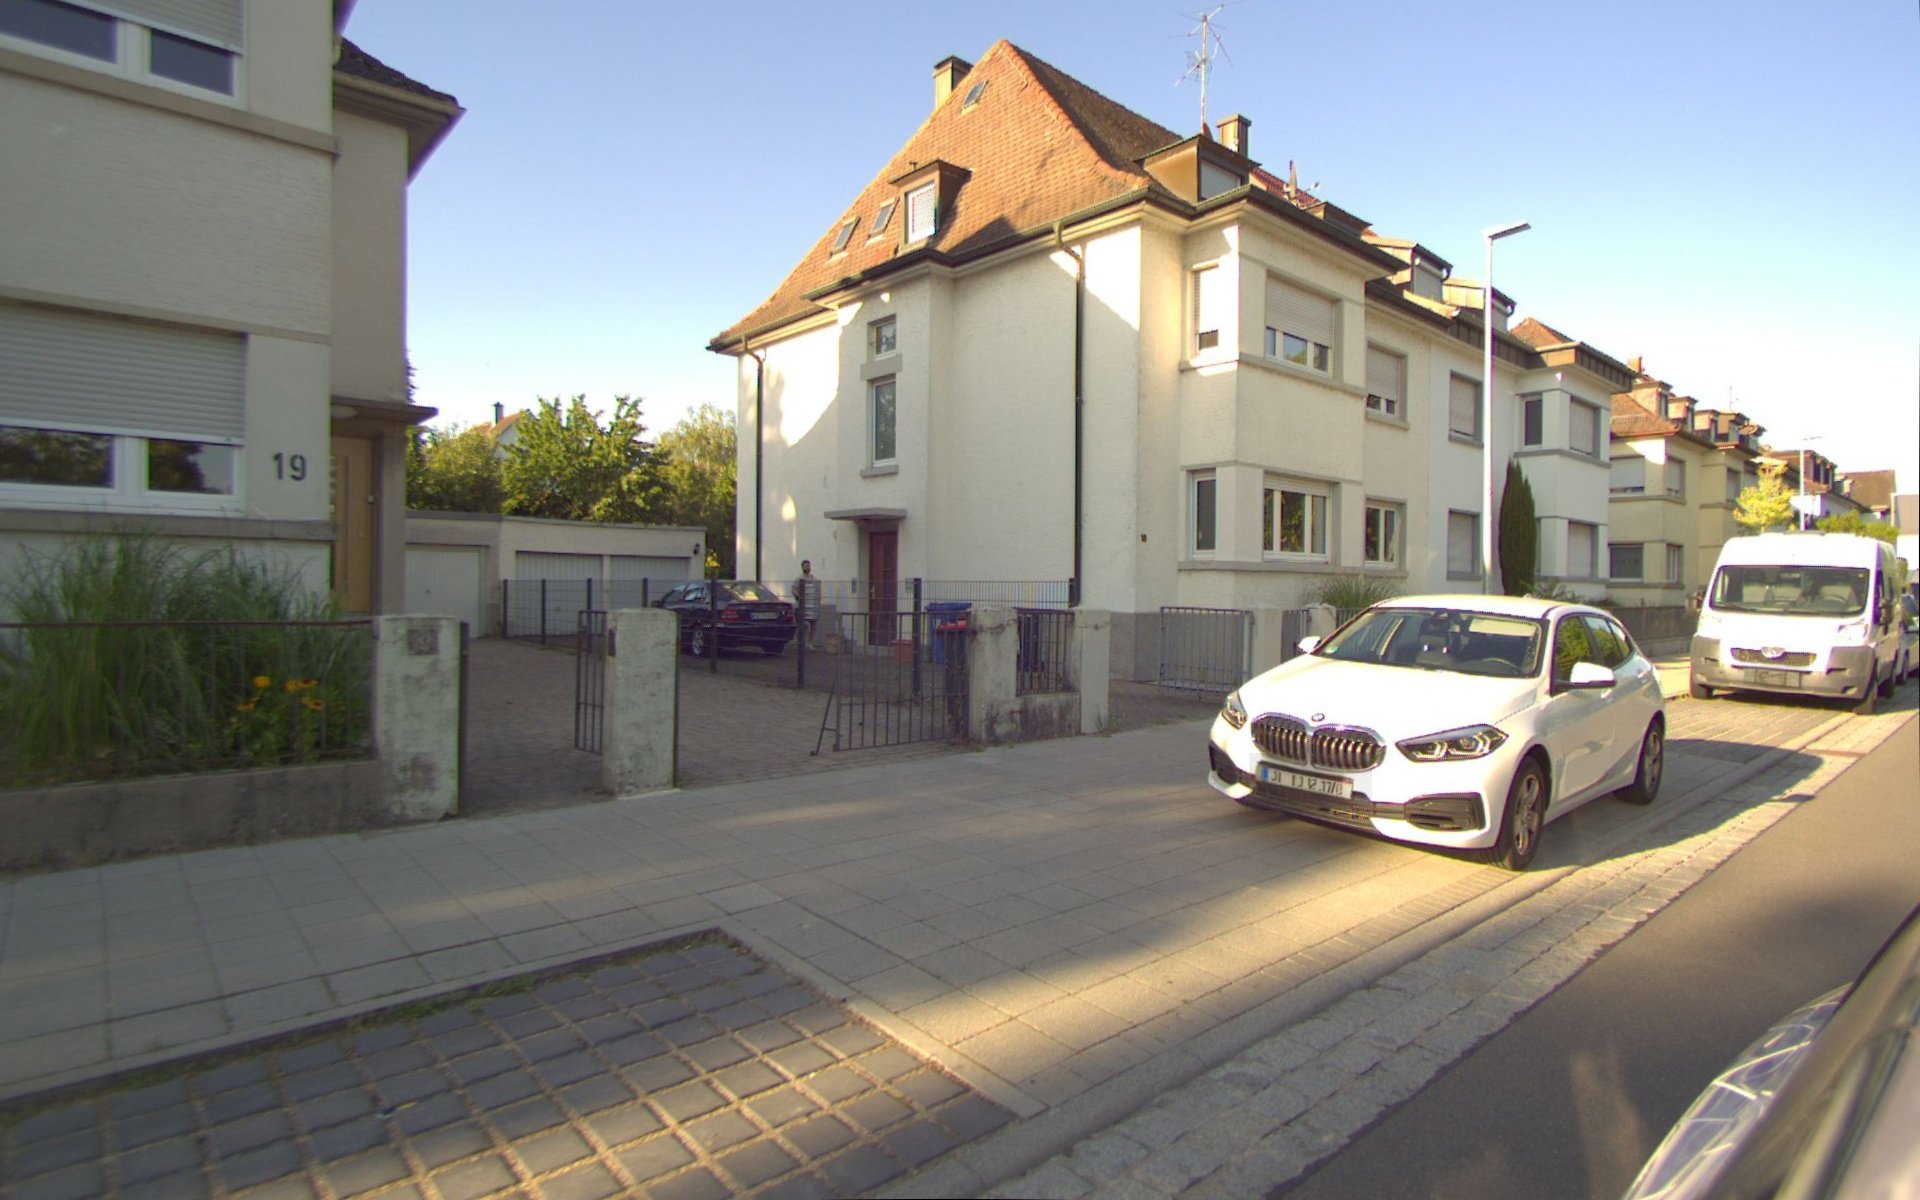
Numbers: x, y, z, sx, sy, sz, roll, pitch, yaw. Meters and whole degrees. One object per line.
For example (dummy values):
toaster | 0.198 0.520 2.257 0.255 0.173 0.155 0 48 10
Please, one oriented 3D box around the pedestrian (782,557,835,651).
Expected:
pedestrian | -2.966 0.061 19.794 0.702 1.782 0.696 0 2 -42

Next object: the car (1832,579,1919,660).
car | 21.367 0.412 23.014 4.403 1.665 1.780 0 2 -42

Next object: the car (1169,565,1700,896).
car | 3.421 0.616 6.886 4.161 1.526 1.786 1 2 -43

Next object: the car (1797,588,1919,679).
car | 17.341 0.575 19.153 4.035 1.501 1.625 1 1 -41

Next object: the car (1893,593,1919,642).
car | 30.401 0.531 31.462 3.934 1.457 1.628 0 1 -41

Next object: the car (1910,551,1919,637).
car | 35.067 -0.188 35.432 5.883 2.890 2.132 0 0 -42

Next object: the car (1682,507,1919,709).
car | 12.929 0.062 15.397 5.416 2.549 2.132 0 2 -44

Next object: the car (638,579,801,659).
car | -4.647 0.284 19.227 1.634 1.306 3.833 0 2 -37
